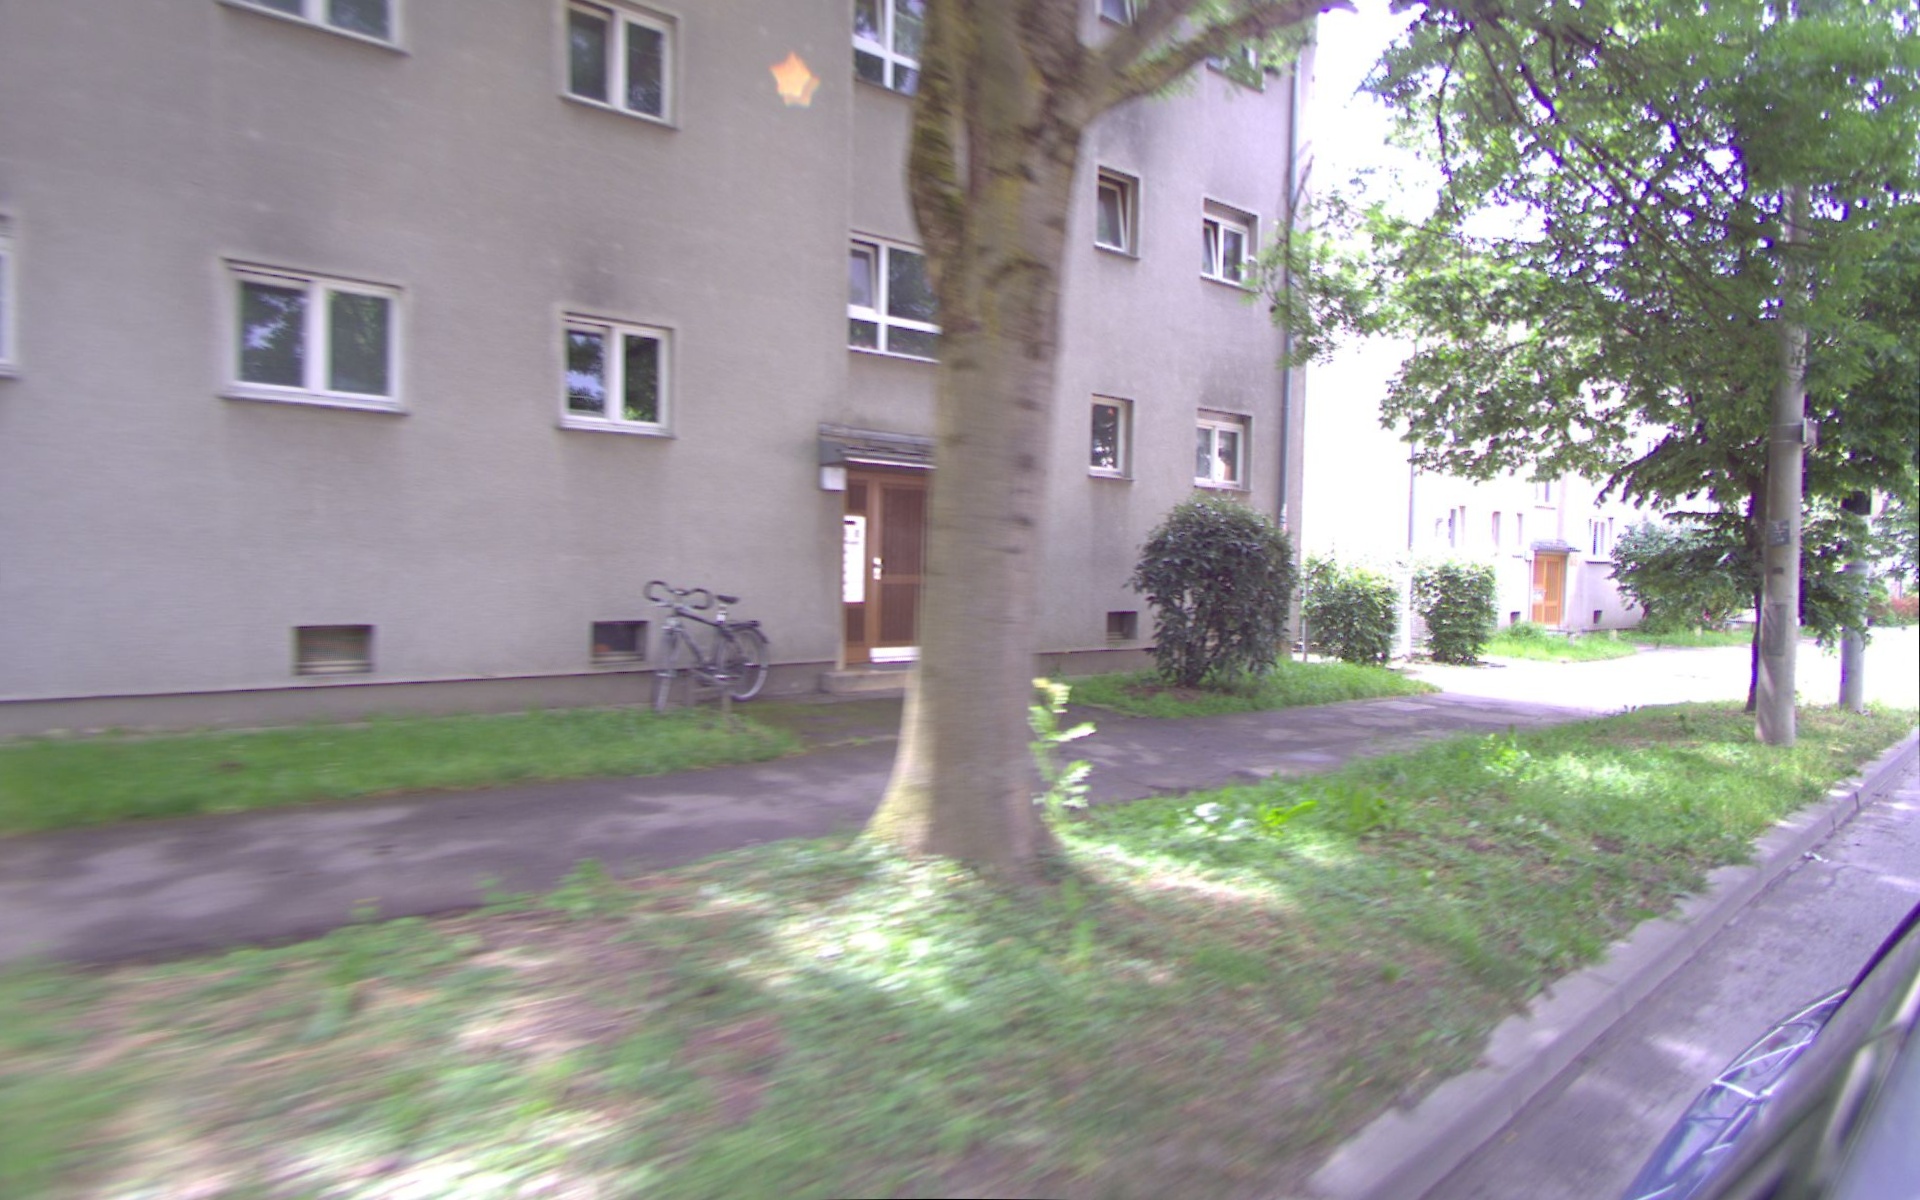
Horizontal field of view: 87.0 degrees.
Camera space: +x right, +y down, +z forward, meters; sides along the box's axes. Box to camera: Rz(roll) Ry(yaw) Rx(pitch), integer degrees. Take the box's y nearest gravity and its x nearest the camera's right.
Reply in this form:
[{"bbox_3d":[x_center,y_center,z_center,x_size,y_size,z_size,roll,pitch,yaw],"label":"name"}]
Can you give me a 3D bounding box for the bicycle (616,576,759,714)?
[{"bbox_3d":[-2.347,0.339,8.919,0.430,1.094,1.747,0,1,14],"label":"bicycle"}]
